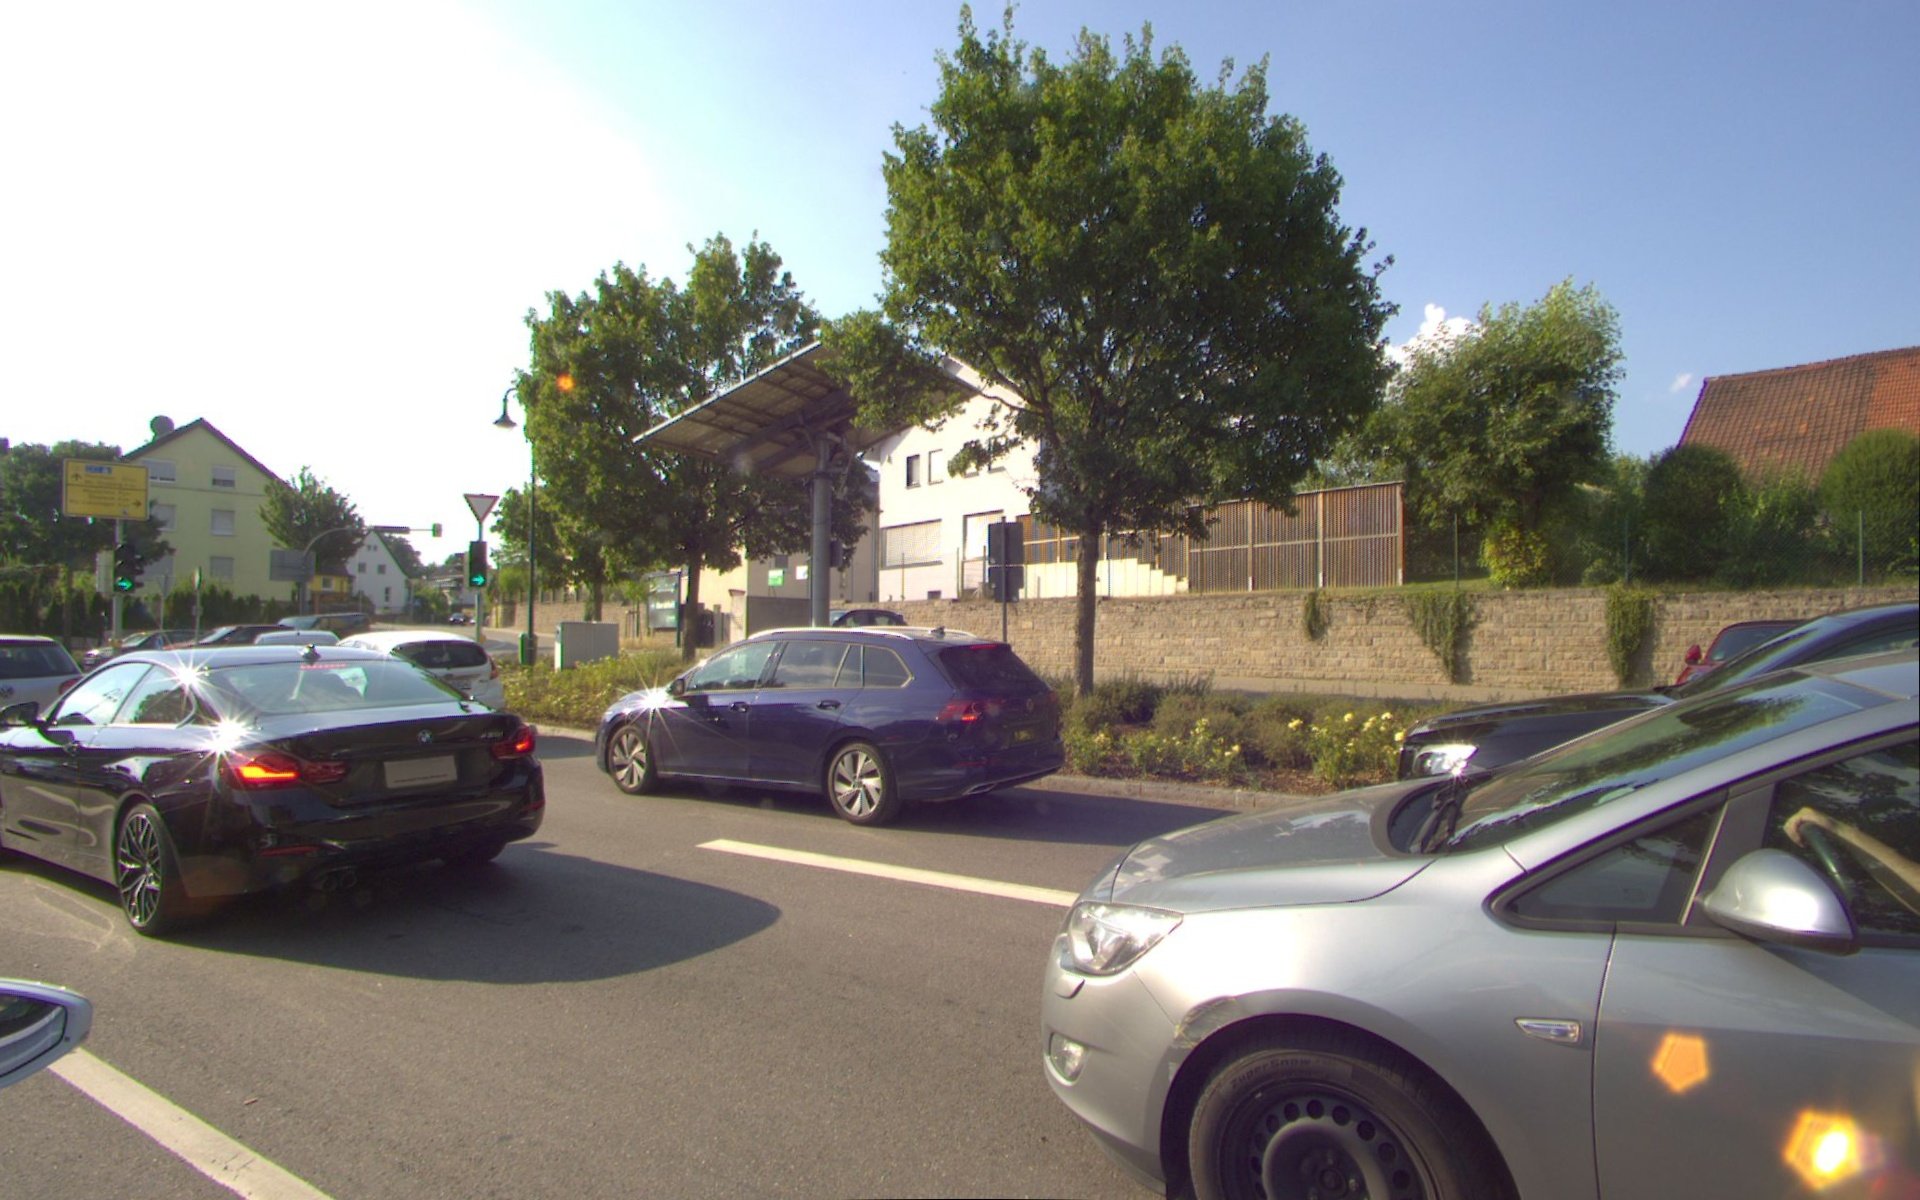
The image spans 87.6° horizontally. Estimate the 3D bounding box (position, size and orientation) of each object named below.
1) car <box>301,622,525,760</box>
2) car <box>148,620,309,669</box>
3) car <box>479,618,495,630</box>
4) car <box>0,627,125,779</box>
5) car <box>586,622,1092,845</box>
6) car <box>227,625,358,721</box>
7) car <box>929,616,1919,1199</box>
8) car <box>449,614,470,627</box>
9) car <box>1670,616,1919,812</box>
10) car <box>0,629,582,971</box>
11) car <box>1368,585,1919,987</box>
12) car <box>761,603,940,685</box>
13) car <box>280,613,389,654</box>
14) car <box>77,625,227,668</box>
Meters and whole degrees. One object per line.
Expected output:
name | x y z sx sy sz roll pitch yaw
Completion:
car | -7.275 1.079 13.214 3.280 1.562 1.609 -1 0 42
car | -26.468 1.592 36.407 1.818 1.662 4.418 0 -2 25
car | -72.325 3.642 153.240 1.939 1.701 4.202 0 -1 -23
car | -10.802 1.027 10.756 3.848 1.444 1.758 -1 0 33
car | -1.163 0.945 8.663 4.259 1.472 1.757 -1 0 34
car | -12.879 1.296 19.206 1.643 1.562 4.362 -1 0 -40
car | 2.188 0.781 2.156 4.256 1.472 1.758 -1 0 31
car | -70.148 2.881 140.338 1.937 1.701 4.207 0 -1 -18
car | 8.241 0.948 9.738 1.758 1.510 4.120 -1 -2 41
car | -4.419 0.913 6.181 4.220 1.416 1.758 -1 0 33
car | 4.433 0.757 4.763 4.494 1.630 1.761 -1 0 27
car | -2.360 0.955 22.292 1.758 1.653 3.800 -1 -2 40
car | -28.115 1.502 45.220 1.812 1.761 4.786 0 -2 1
car | -30.054 1.713 37.362 1.821 1.508 3.983 -1 -2 30
